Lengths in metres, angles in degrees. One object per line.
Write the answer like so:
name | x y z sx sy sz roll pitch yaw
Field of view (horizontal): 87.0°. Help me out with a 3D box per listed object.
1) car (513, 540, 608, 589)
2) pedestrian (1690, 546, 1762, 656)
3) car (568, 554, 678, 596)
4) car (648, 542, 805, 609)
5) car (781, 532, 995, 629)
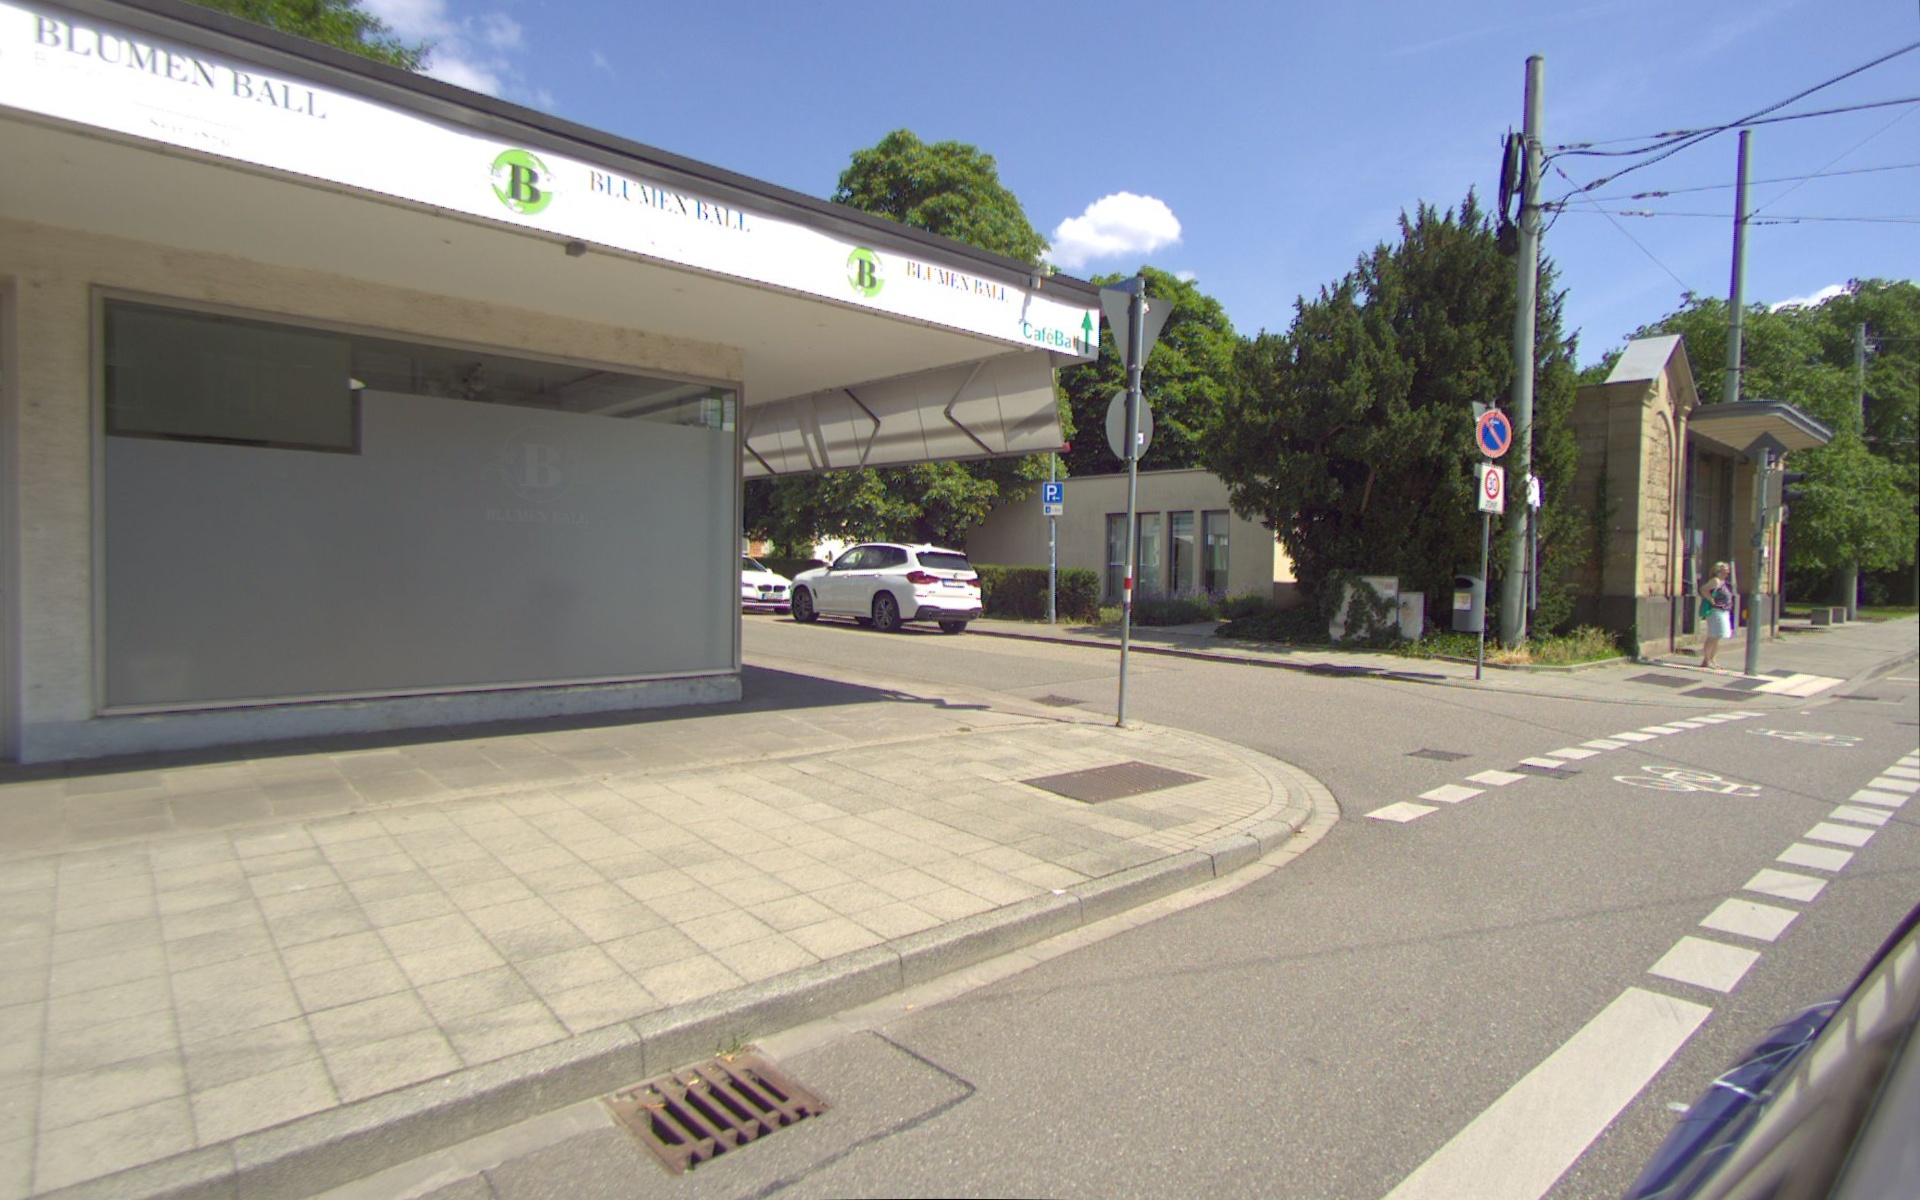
car | -13.308 -1.214 33.624 1.832 1.490 3.685 1 2 -40
pedestrian | 12.007 0.008 15.873 0.667 1.686 0.566 0 2 -18
car | -9.976 -0.752 29.818 1.832 1.056 3.685 1 2 -40
car | -5.802 -0.629 24.809 1.909 1.468 4.412 1 2 -40
car | -1.521 -0.422 19.820 1.909 1.676 4.412 1 2 -40
